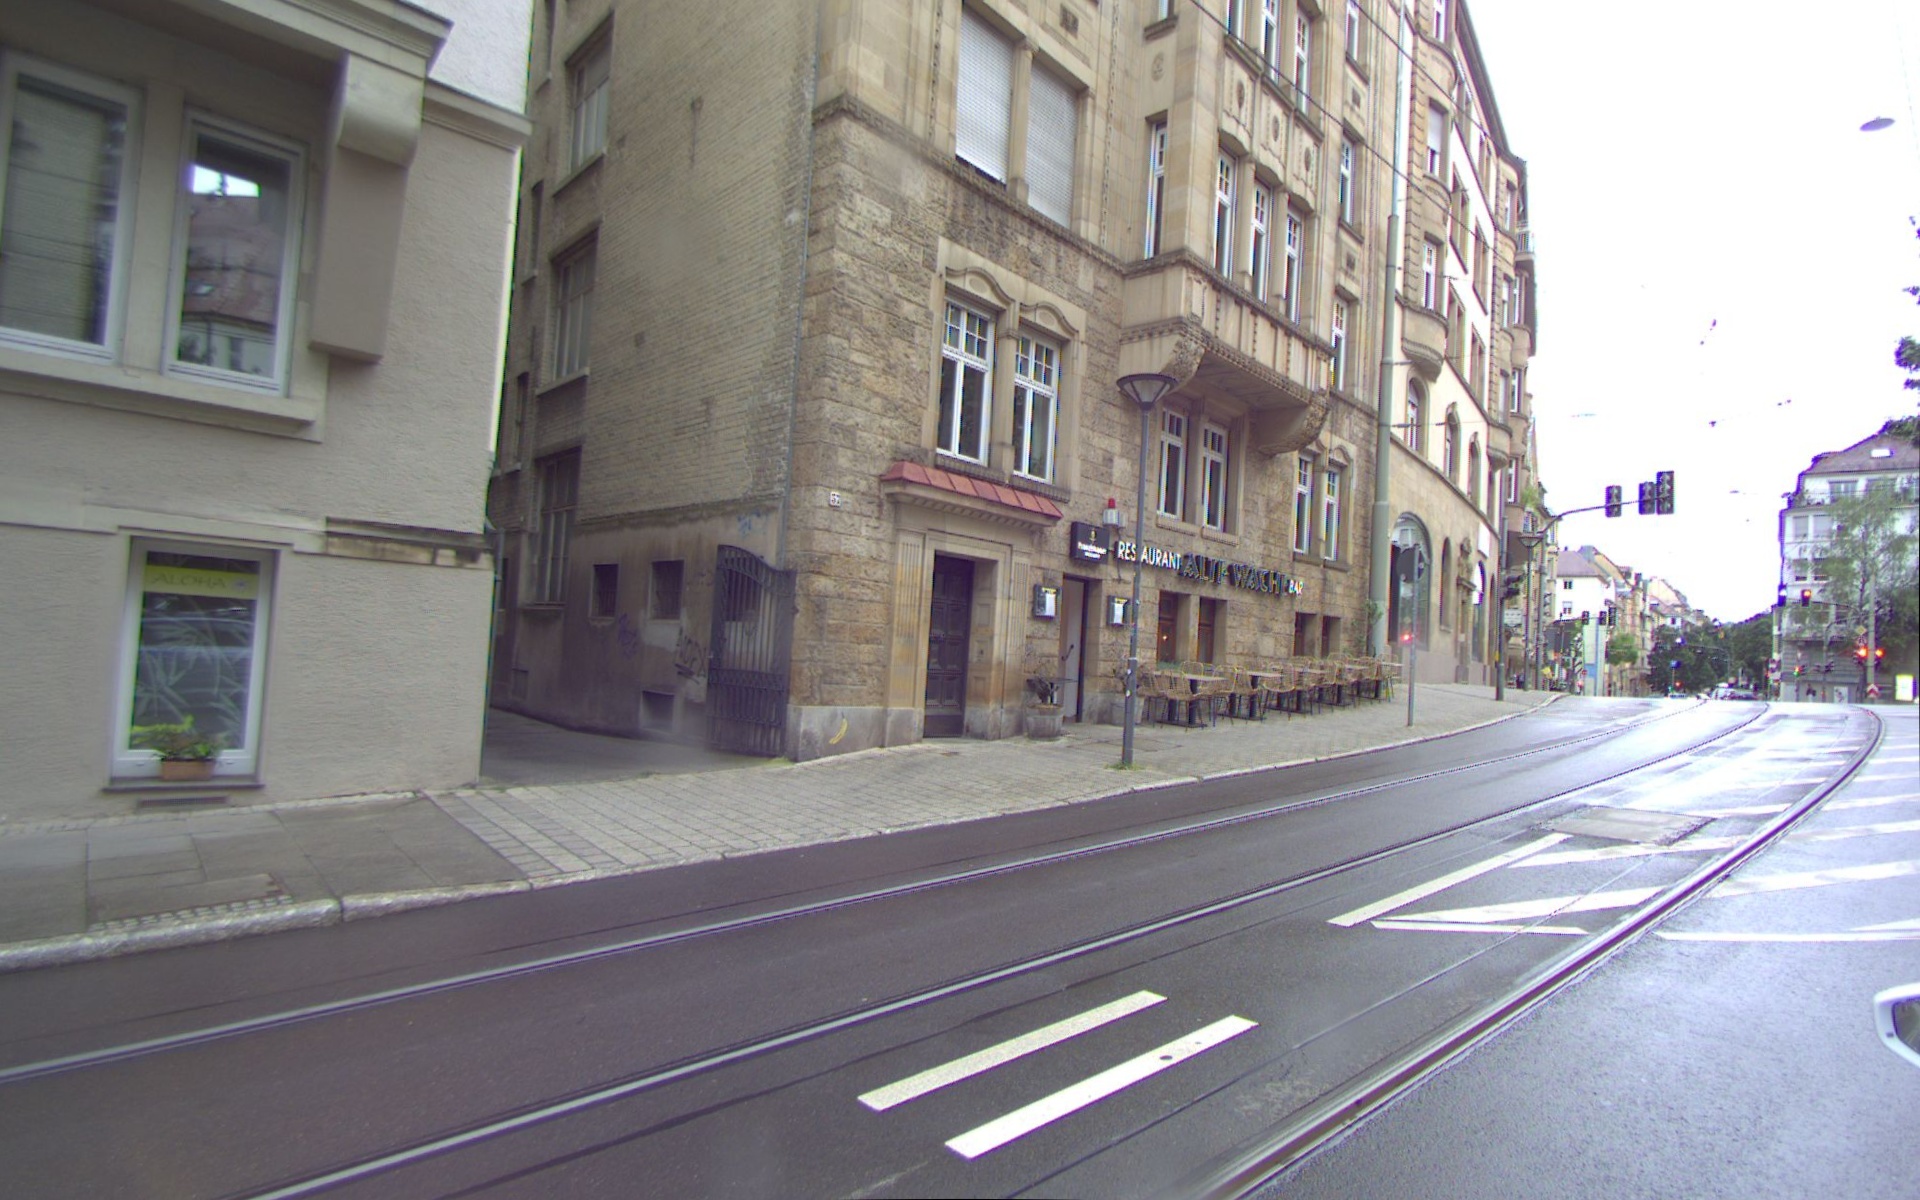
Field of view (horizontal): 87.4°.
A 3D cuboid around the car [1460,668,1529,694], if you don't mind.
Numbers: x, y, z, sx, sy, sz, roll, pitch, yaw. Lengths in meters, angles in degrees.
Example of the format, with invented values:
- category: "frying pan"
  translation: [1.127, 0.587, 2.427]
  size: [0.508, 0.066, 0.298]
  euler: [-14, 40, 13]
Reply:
- category: "car"
  translation: [35.545, 5.342, 66.811]
  size: [3.932, 1.530, 1.795]
  euler: [0, -2, 33]

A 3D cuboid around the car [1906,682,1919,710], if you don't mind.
- category: "car"
  translation: [60.910, 5.939, 61.976]
  size: [3.930, 1.635, 1.796]
  euler: [1, -2, -12]

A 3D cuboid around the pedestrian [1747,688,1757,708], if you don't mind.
- category: "pedestrian"
  translation: [70.139, 8.699, 88.925]
  size: [0.640, 1.683, 0.647]
  euler: [1, -1, 40]

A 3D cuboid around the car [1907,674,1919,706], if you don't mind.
- category: "car"
  translation: [50.034, 4.543, 50.996]
  size: [3.954, 1.530, 1.786]
  euler: [2, -4, -31]

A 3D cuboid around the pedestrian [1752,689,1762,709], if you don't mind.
- category: "pedestrian"
  translation: [68.755, 8.534, 86.674]
  size: [0.640, 1.683, 0.647]
  euler: [1, -1, 40]
